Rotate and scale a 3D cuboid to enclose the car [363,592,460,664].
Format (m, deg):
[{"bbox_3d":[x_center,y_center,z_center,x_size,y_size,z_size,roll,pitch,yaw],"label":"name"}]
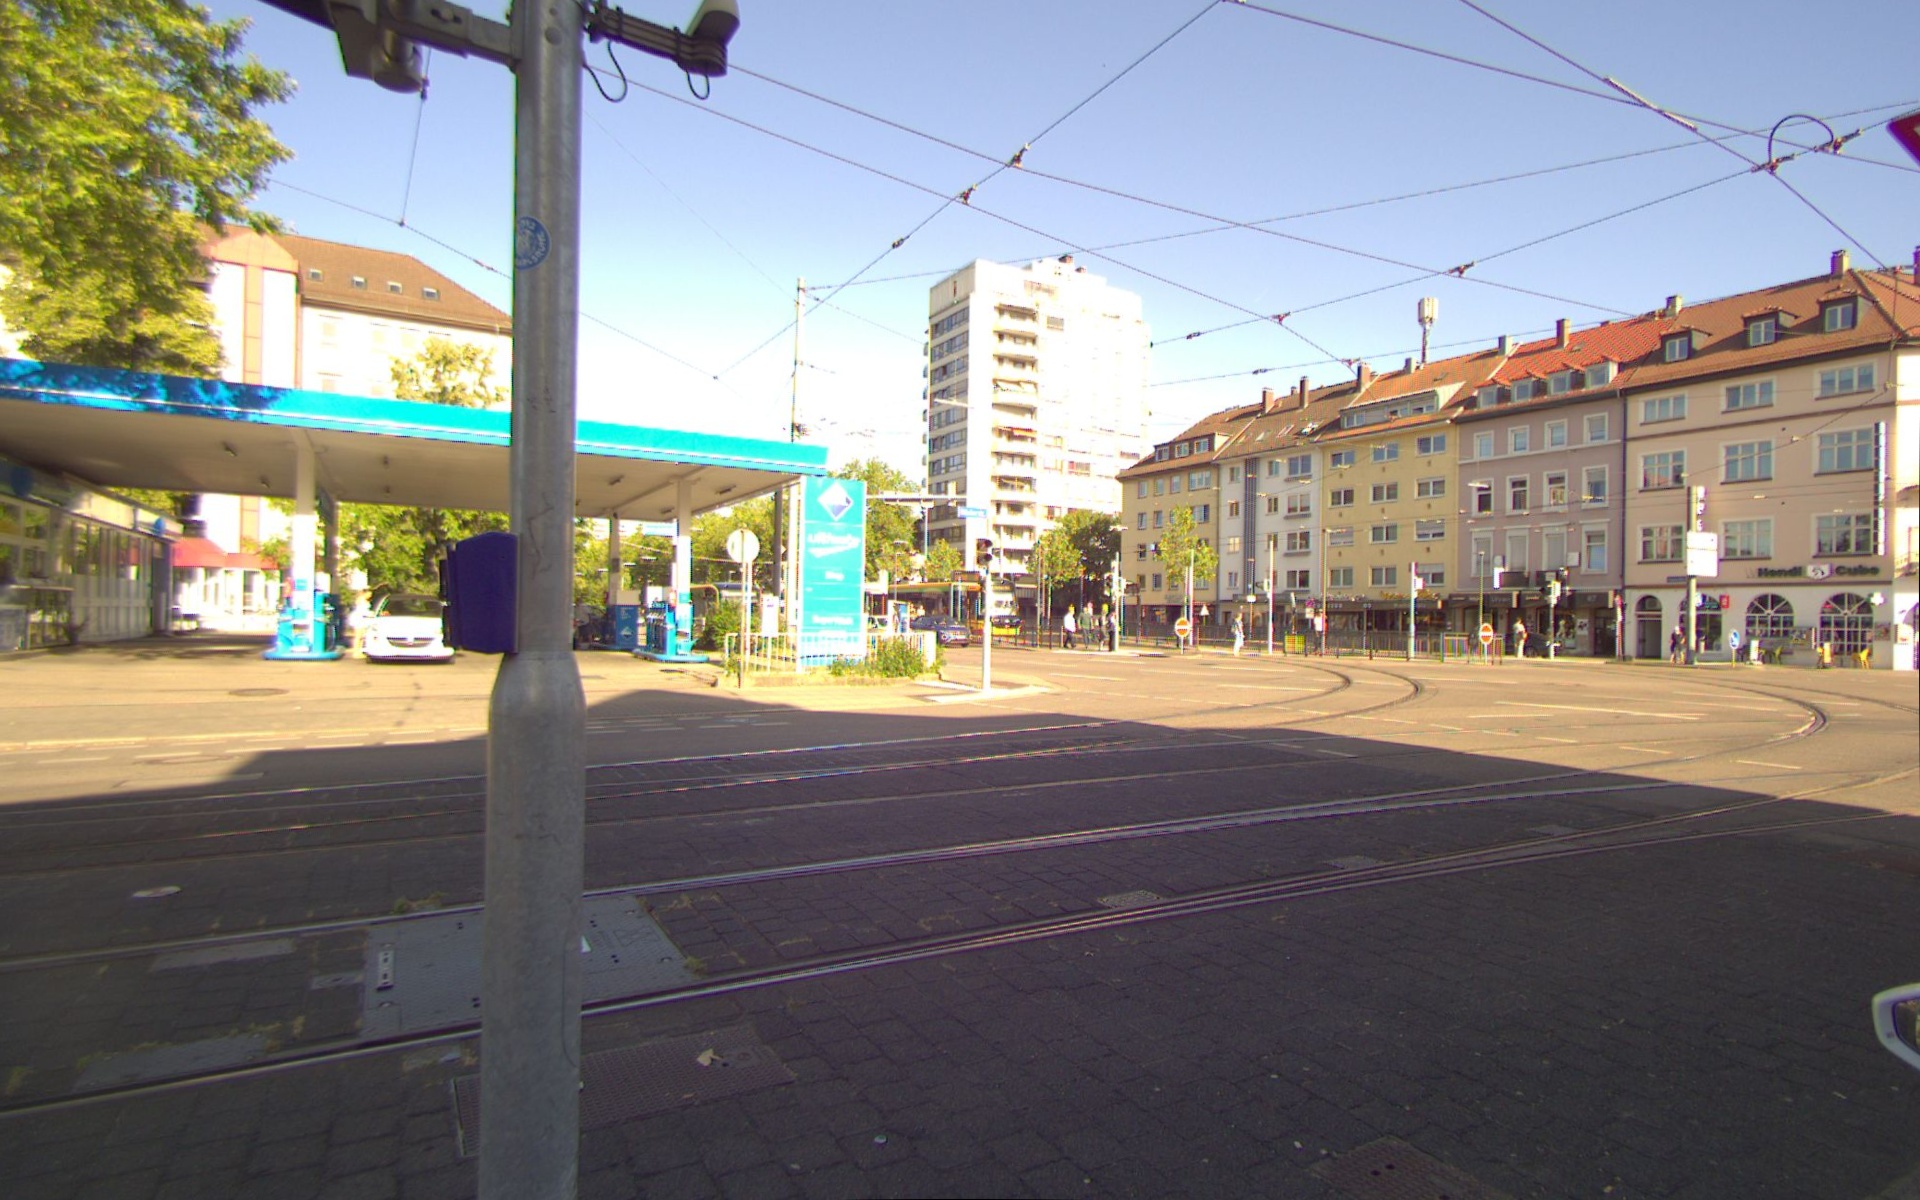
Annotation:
[{"bbox_3d":[-12.192,0.605,22.347,1.737,1.461,3.543,1,-1,-29],"label":"car"}]

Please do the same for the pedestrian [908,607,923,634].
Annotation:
[{"bbox_3d":[-2.618,1.215,59.579,0.607,1.598,0.827,0,0,-27],"label":"pedestrian"}]

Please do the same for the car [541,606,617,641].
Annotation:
[{"bbox_3d":[-16.857,1.043,44.598,1.722,1.461,3.572,1,-1,5],"label":"car"}]

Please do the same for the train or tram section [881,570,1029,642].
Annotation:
[{"bbox_3d":[-0.641,0.405,60.131,2.906,3.864,12.952,1,-1,-29],"label":"train or tram section"}]

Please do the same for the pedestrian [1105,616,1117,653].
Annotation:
[{"bbox_3d":[6.157,1.406,40.964,0.472,1.525,0.462,0,0,6],"label":"pedestrian"}]

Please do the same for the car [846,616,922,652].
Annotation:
[{"bbox_3d":[-3.584,1.554,46.735,1.871,1.550,3.963,1,-1,-33],"label":"car"}]

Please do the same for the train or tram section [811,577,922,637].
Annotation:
[{"bbox_3d":[-6.914,0.521,71.323,2.906,3.864,12.721,1,-1,-29],"label":"train or tram section"}]

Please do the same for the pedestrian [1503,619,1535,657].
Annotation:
[{"bbox_3d":[24.464,1.670,43.980,0.821,1.598,0.847,2,0,-20],"label":"pedestrian"}]

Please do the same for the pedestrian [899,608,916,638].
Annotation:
[{"bbox_3d":[-3.046,1.320,58.368,0.747,1.756,0.797,0,0,-28],"label":"pedestrian"}]

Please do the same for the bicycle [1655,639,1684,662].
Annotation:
[{"bbox_3d":[33.990,2.426,48.128,1.479,1.091,0.570,2,0,-30],"label":"bicycle"}]

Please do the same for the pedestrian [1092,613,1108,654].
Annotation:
[{"bbox_3d":[5.860,1.393,41.964,0.626,1.666,0.462,0,0,6],"label":"pedestrian"}]

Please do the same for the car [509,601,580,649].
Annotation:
[{"bbox_3d":[-13.543,0.785,32.673,1.737,1.461,3.543,1,-1,-29],"label":"car"}]

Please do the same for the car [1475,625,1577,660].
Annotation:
[{"bbox_3d":[30.828,2.292,54.845,2.277,1.734,4.350,2,0,-27],"label":"car"}]

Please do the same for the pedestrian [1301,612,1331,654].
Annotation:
[{"bbox_3d":[14.125,1.300,39.822,0.821,1.598,0.724,2,0,-20],"label":"pedestrian"}]

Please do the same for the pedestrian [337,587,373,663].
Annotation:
[{"bbox_3d":[-13.871,0.570,23.045,0.640,1.724,0.497,1,-1,-26],"label":"pedestrian"}]

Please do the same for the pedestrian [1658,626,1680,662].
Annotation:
[{"bbox_3d":[33.963,2.126,48.105,0.743,1.692,0.579,2,0,-30],"label":"pedestrian"}]

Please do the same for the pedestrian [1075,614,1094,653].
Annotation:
[{"bbox_3d":[5.477,1.484,44.303,0.551,1.702,0.757,1,-1,-20],"label":"pedestrian"}]

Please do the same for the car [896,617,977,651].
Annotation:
[{"bbox_3d":[-1.157,1.618,48.365,1.875,1.550,3.955,1,-2,-39],"label":"car"}]

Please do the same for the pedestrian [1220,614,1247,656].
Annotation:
[{"bbox_3d":[10.560,1.342,38.785,0.817,1.598,0.552,2,0,-2],"label":"pedestrian"}]

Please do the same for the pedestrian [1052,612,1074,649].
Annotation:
[{"bbox_3d":[4.548,1.330,44.460,0.867,1.598,0.665,2,0,-2],"label":"pedestrian"}]

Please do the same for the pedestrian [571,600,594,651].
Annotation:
[{"bbox_3d":[-12.919,0.880,34.375,0.491,1.724,0.499,0,-1,33],"label":"pedestrian"}]
